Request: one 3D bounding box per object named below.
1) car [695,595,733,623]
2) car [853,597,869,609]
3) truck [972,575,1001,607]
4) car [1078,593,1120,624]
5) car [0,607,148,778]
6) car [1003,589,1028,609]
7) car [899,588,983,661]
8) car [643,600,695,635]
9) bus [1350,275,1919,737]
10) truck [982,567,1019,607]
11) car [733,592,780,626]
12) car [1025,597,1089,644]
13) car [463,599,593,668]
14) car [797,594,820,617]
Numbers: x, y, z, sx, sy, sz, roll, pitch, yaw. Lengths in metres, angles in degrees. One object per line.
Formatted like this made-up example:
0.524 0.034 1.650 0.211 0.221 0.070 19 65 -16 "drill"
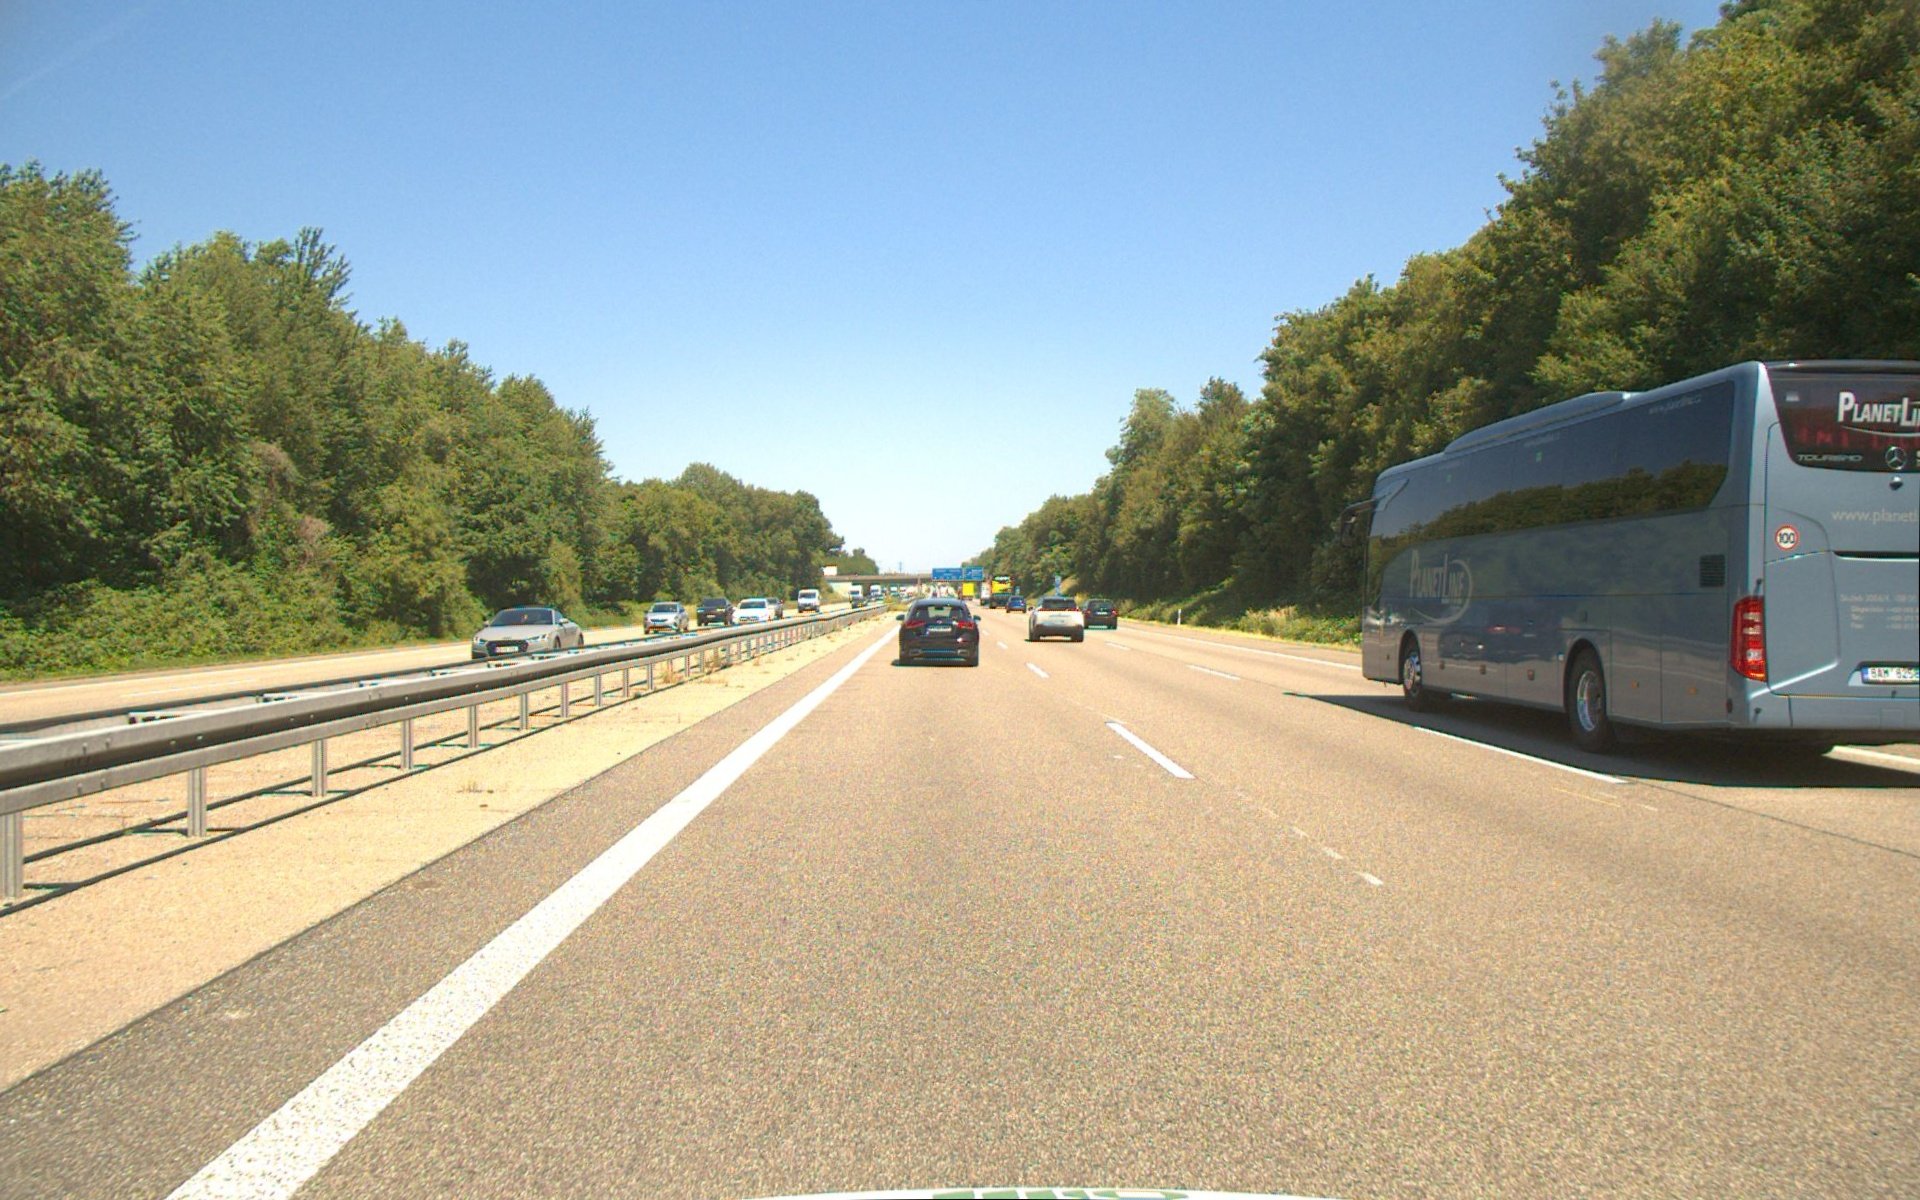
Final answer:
-15.090 0.539 101.662 1.783 1.659 4.796 -1 0 -2 "car"
-11.963 0.345 200.324 1.769 1.506 4.566 -1 0 -2 "car"
4.003 -1.312 253.786 3.574 4.670 17.240 1 0 -2 "truck"
6.915 0.393 82.631 1.753 1.487 3.949 1 0 0 "car"
-8.935 0.804 14.169 1.801 1.407 4.427 -1 0 -1 "car"
5.140 -0.102 154.677 2.034 1.781 4.240 -1 0 -2 "car"
-0.470 0.513 37.202 1.763 1.528 4.240 1 0 -2 "car"
-13.820 0.803 78.767 1.783 1.550 4.821 -1 0 -2 "car"
7.503 -0.757 19.400 2.745 3.659 12.472 0 0 -1 "bus"
4.876 -1.517 202.549 3.574 4.670 15.760 1 0 -2 "truck"
-9.767 0.428 79.766 1.783 1.550 4.821 -1 0 -2 "car"
3.371 0.693 58.395 1.861 1.559 4.240 1 0 -2 "car"
-9.648 0.707 37.289 1.801 1.407 4.427 -1 0 -1 "car"
-15.528 0.540 169.855 2.045 2.328 5.275 -1 0 -2 "car"
